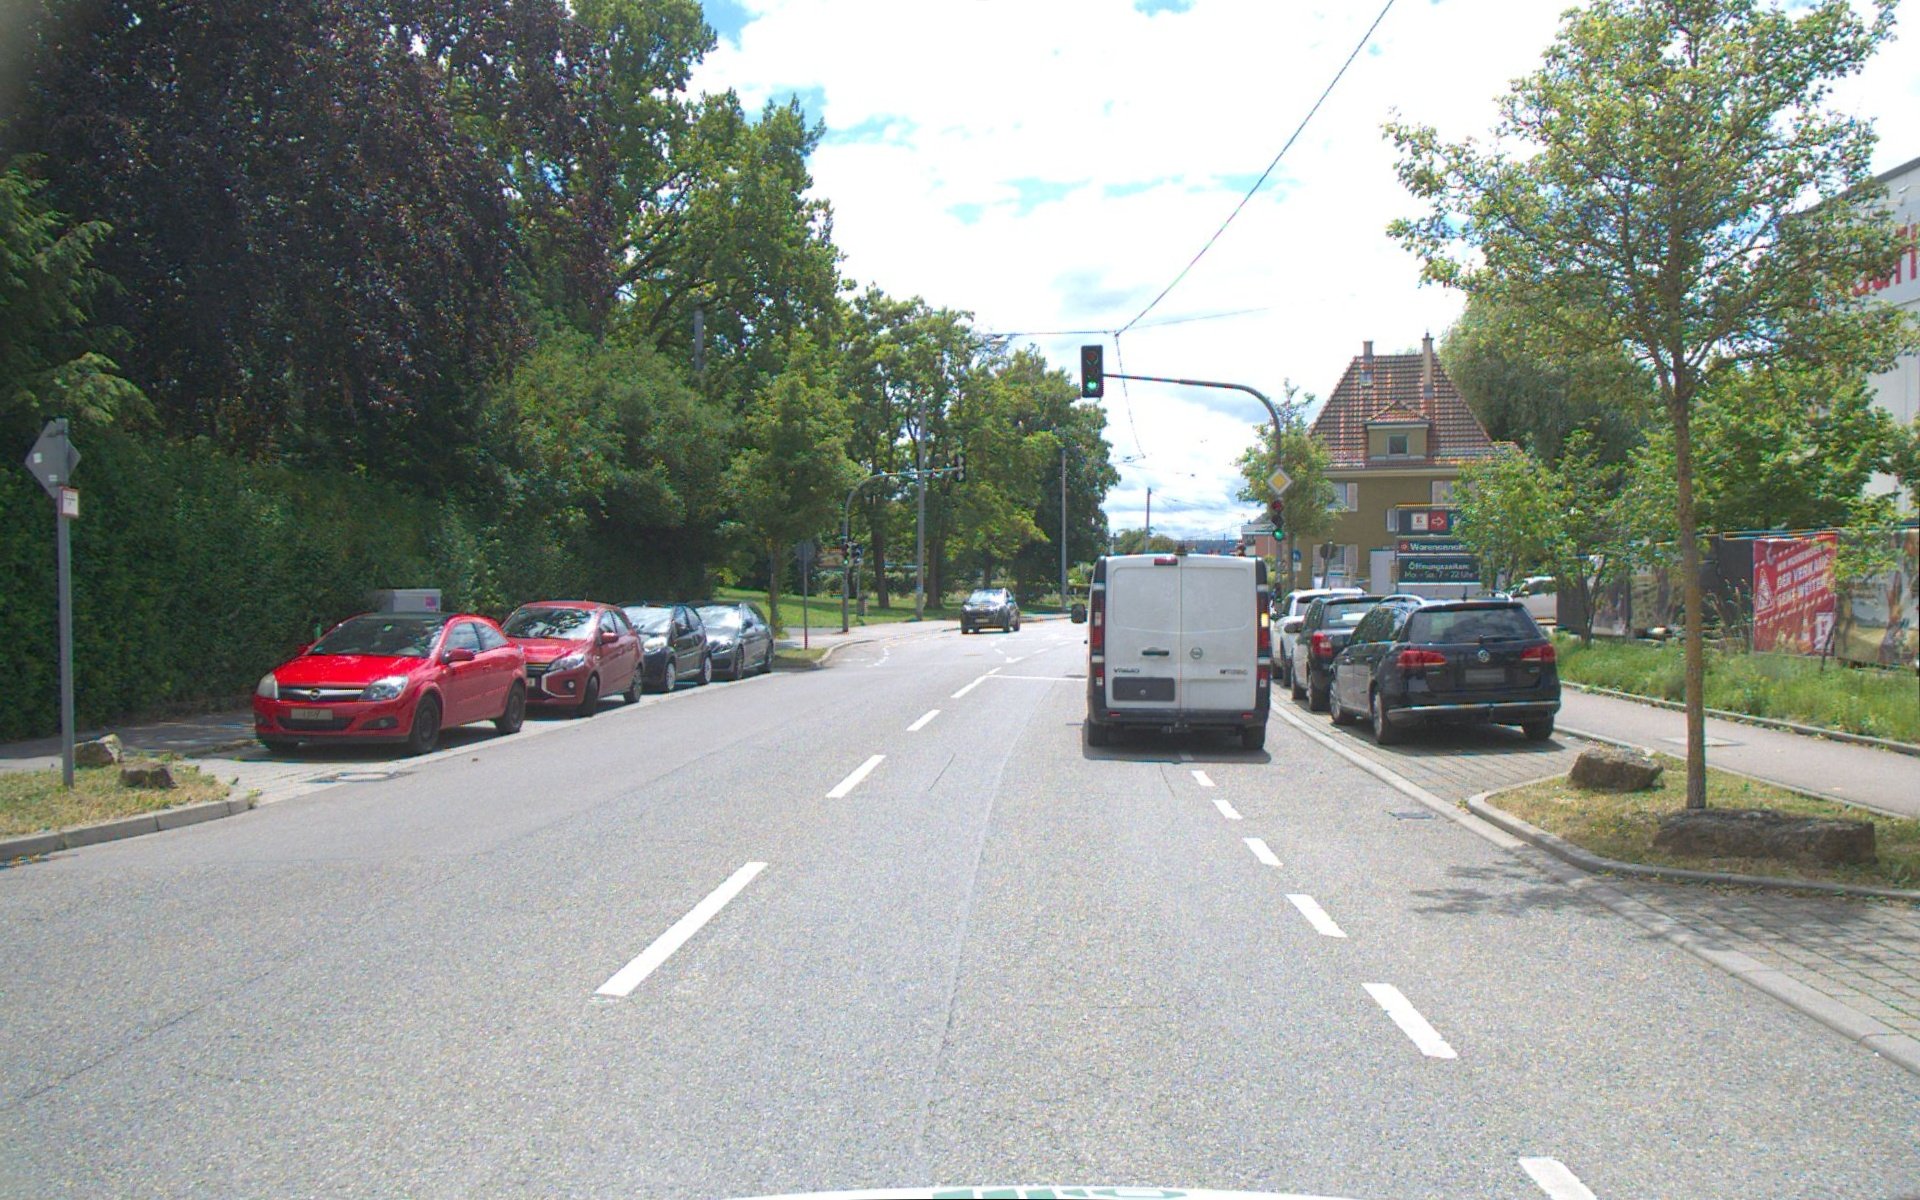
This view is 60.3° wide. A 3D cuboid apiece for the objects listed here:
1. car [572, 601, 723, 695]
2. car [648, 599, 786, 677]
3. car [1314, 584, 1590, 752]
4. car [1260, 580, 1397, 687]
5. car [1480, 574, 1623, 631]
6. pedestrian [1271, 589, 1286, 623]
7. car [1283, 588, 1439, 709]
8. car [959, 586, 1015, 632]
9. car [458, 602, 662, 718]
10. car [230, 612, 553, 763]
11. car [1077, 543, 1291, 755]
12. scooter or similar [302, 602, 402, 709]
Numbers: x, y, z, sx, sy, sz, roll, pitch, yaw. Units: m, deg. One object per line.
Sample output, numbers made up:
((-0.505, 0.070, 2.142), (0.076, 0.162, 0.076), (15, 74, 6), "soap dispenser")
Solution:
((-5.279, 0.772, 28.373), (1.561, 1.476, 3.598), (1, 0, 6), "car")
((-4.700, 0.699, 32.648), (1.659, 1.389, 4.689), (1, 0, 4), "car")
((5.206, 0.655, 18.221), (1.728, 1.503, 4.937), (-3, 0, 3), "car")
((6.322, 0.539, 28.822), (1.700, 1.644, 4.389), (-3, 0, 5), "car")
((18.653, 0.077, 52.274), (3.904, 1.634, 1.609), (-2, 1, 2), "car")
((15.341, 0.305, 79.794), (0.664, 1.580, 0.836), (-2, -2, 11), "pedestrian")
((5.539, 0.622, 23.241), (1.535, 1.519, 4.003), (-2, 0, 5), "car")
((1.070, 0.314, 63.127), (1.794, 1.645, 4.155), (-2, 0, 5), "car")
((-5.561, 0.779, 23.506), (1.615, 1.476, 4.107), (1, 0, 4), "car")
((-6.046, 0.856, 18.218), (1.625, 1.402, 4.569), (1, 0, 5), "car")
((2.336, 0.462, 18.433), (1.898, 1.995, 4.835), (1, 0, 3), "car")
((-8.576, 0.752, 23.387), (0.656, 1.437, 1.650), (0, 0, 6), "scooter or similar")
